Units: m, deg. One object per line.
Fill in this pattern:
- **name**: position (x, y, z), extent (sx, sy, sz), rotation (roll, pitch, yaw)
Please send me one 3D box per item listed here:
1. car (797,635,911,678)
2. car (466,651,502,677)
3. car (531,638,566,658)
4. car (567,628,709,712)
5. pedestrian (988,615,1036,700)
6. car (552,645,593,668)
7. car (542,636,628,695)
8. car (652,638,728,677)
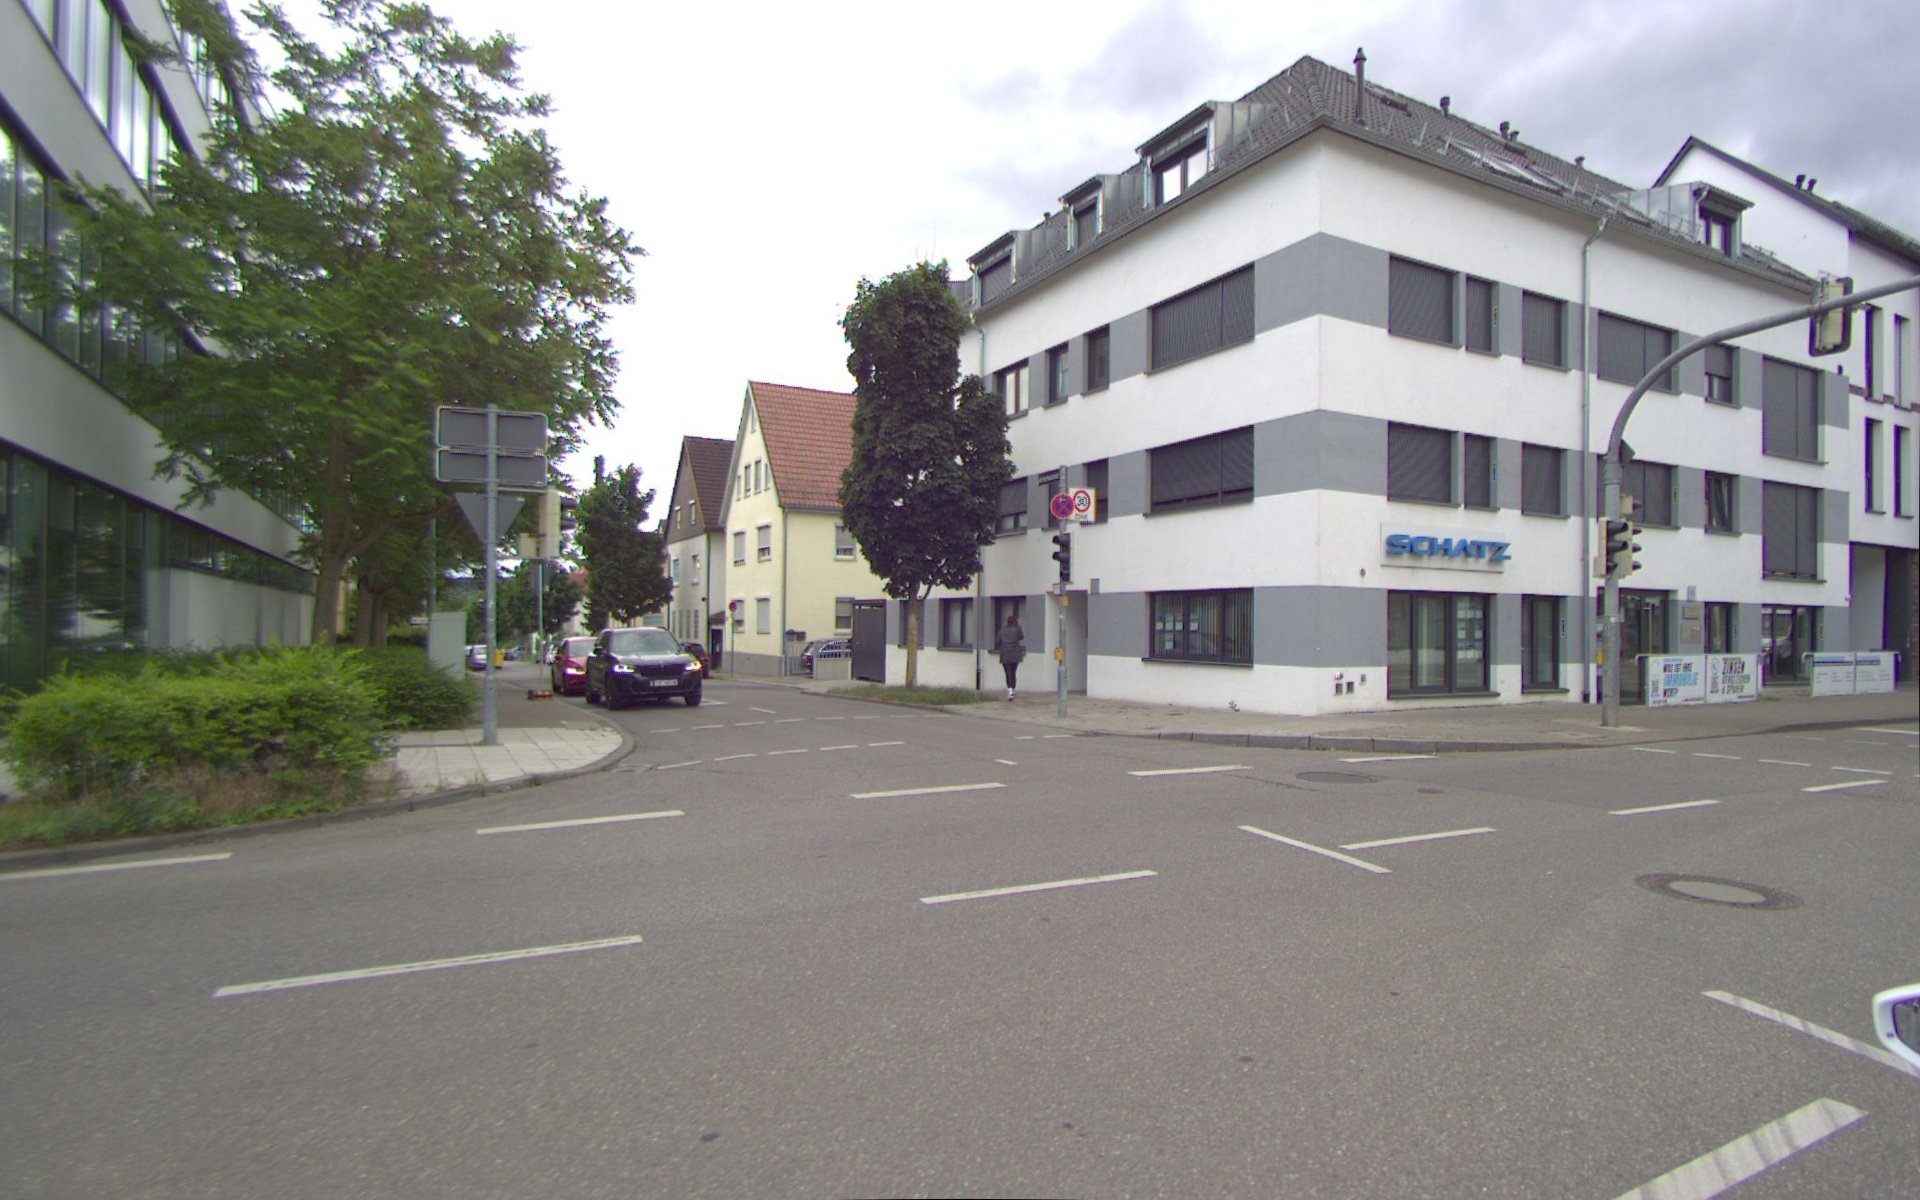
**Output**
- **car**: position (-3.966, 2.102, 37.769), extent (3.952, 1.547, 1.672), rotation (1, -2, -30)
- **car**: position (-29.337, 3.909, 61.854), extent (1.665, 1.547, 3.969), rotation (1, -3, -30)
- **car**: position (-33.219, 3.899, 81.128), extent (1.892, 1.552, 3.964), rotation (1, -3, -34)
- **car**: position (-6.988, 1.449, 21.532), extent (1.892, 1.553, 3.964), rotation (-1, -2, -33)
- **pedestrian**: position (1.064, 1.180, 20.860), extent (0.867, 1.692, 0.813), rotation (-2, 1, -4)
- **car**: position (-27.470, 3.993, 71.162), extent (1.892, 1.552, 3.964), rotation (1, -3, -34)
- **car**: position (-10.645, 1.800, 28.361), extent (1.665, 1.547, 3.969), rotation (1, -3, -30)
- **car**: position (-11.305, 2.390, 41.900), extent (1.892, 1.552, 3.964), rotation (1, -3, -34)
